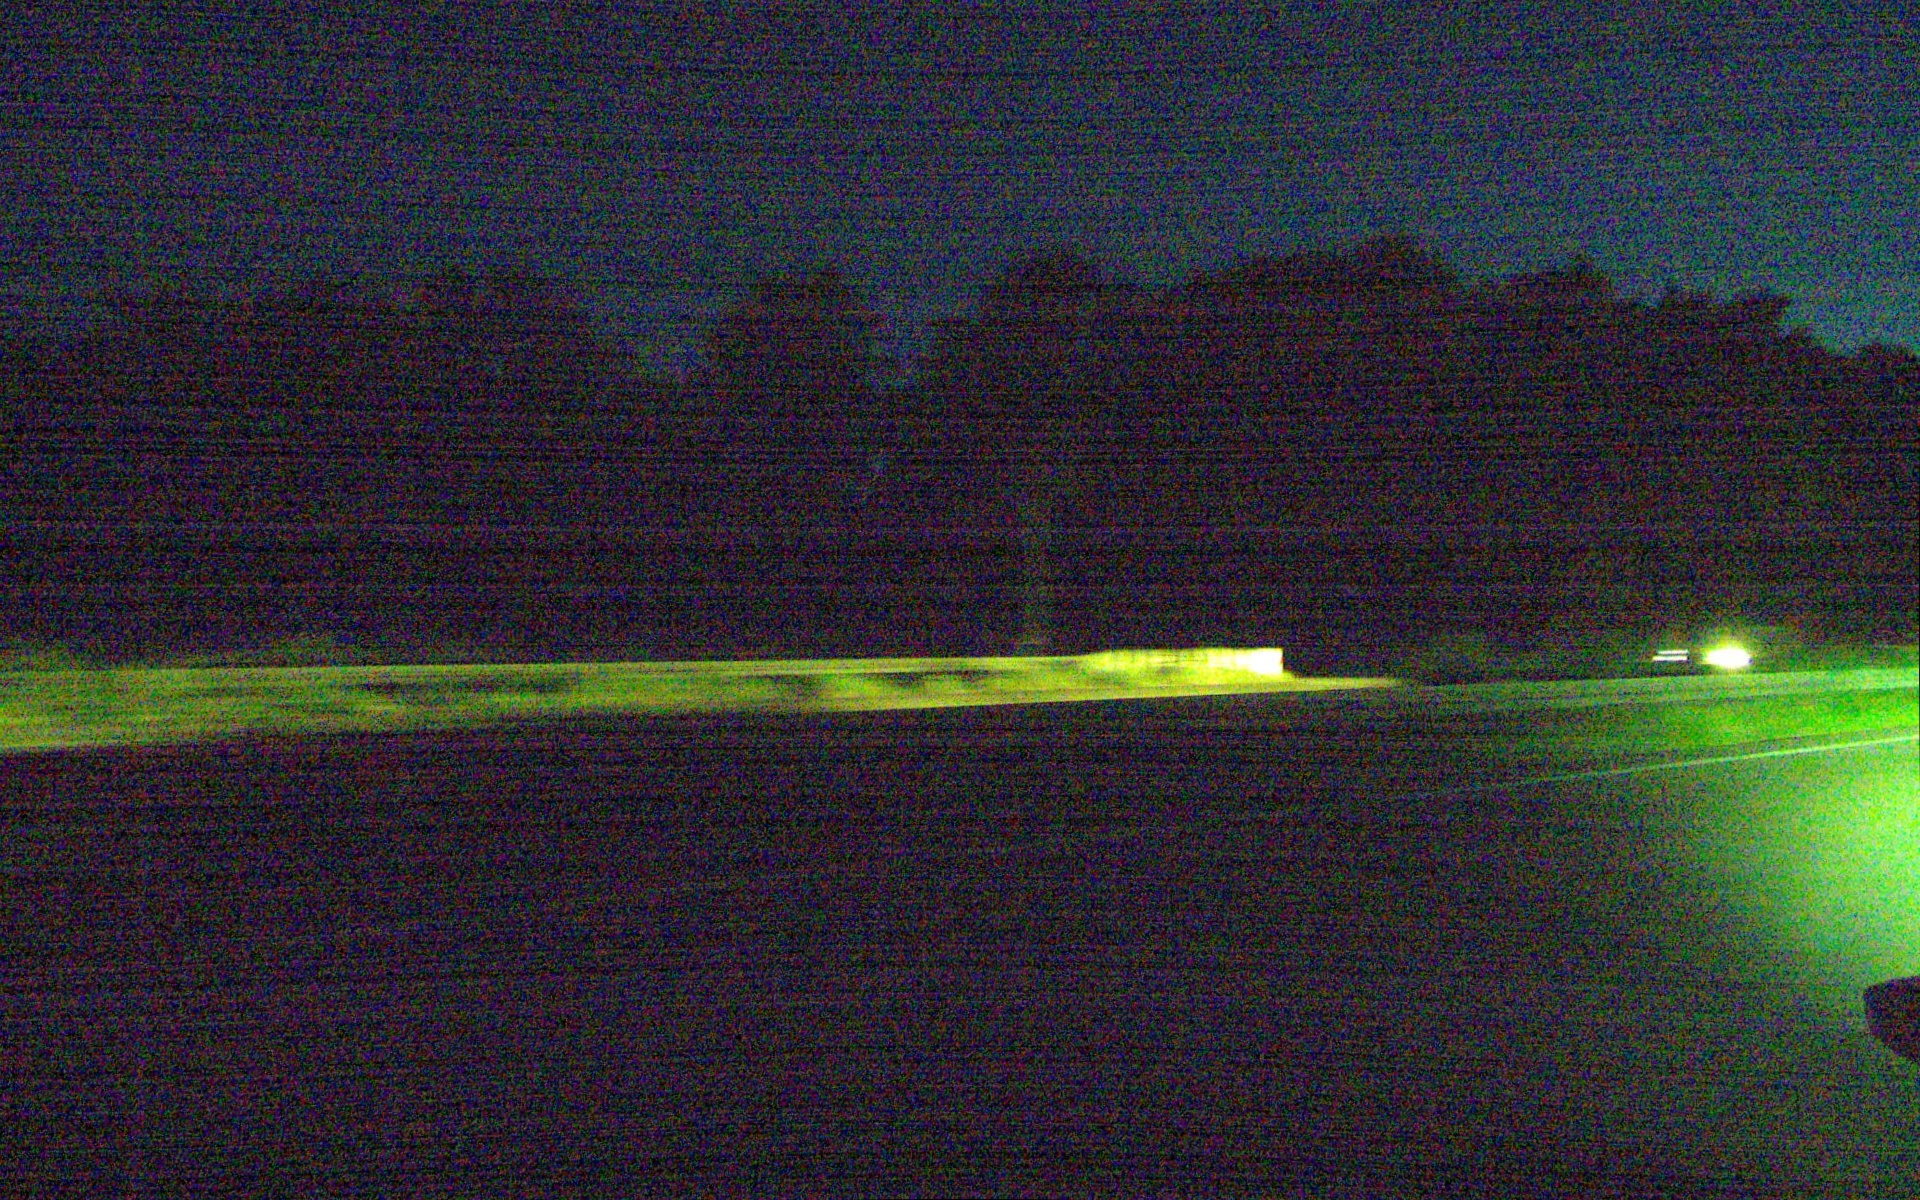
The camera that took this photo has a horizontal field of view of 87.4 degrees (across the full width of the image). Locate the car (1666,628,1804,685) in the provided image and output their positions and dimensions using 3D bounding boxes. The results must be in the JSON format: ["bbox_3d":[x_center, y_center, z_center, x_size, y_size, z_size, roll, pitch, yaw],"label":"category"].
[{"bbox_3d":[24.350,1.738,31.533,4.484,1.679,1.983,2,-2,-32],"label":"car"}]
